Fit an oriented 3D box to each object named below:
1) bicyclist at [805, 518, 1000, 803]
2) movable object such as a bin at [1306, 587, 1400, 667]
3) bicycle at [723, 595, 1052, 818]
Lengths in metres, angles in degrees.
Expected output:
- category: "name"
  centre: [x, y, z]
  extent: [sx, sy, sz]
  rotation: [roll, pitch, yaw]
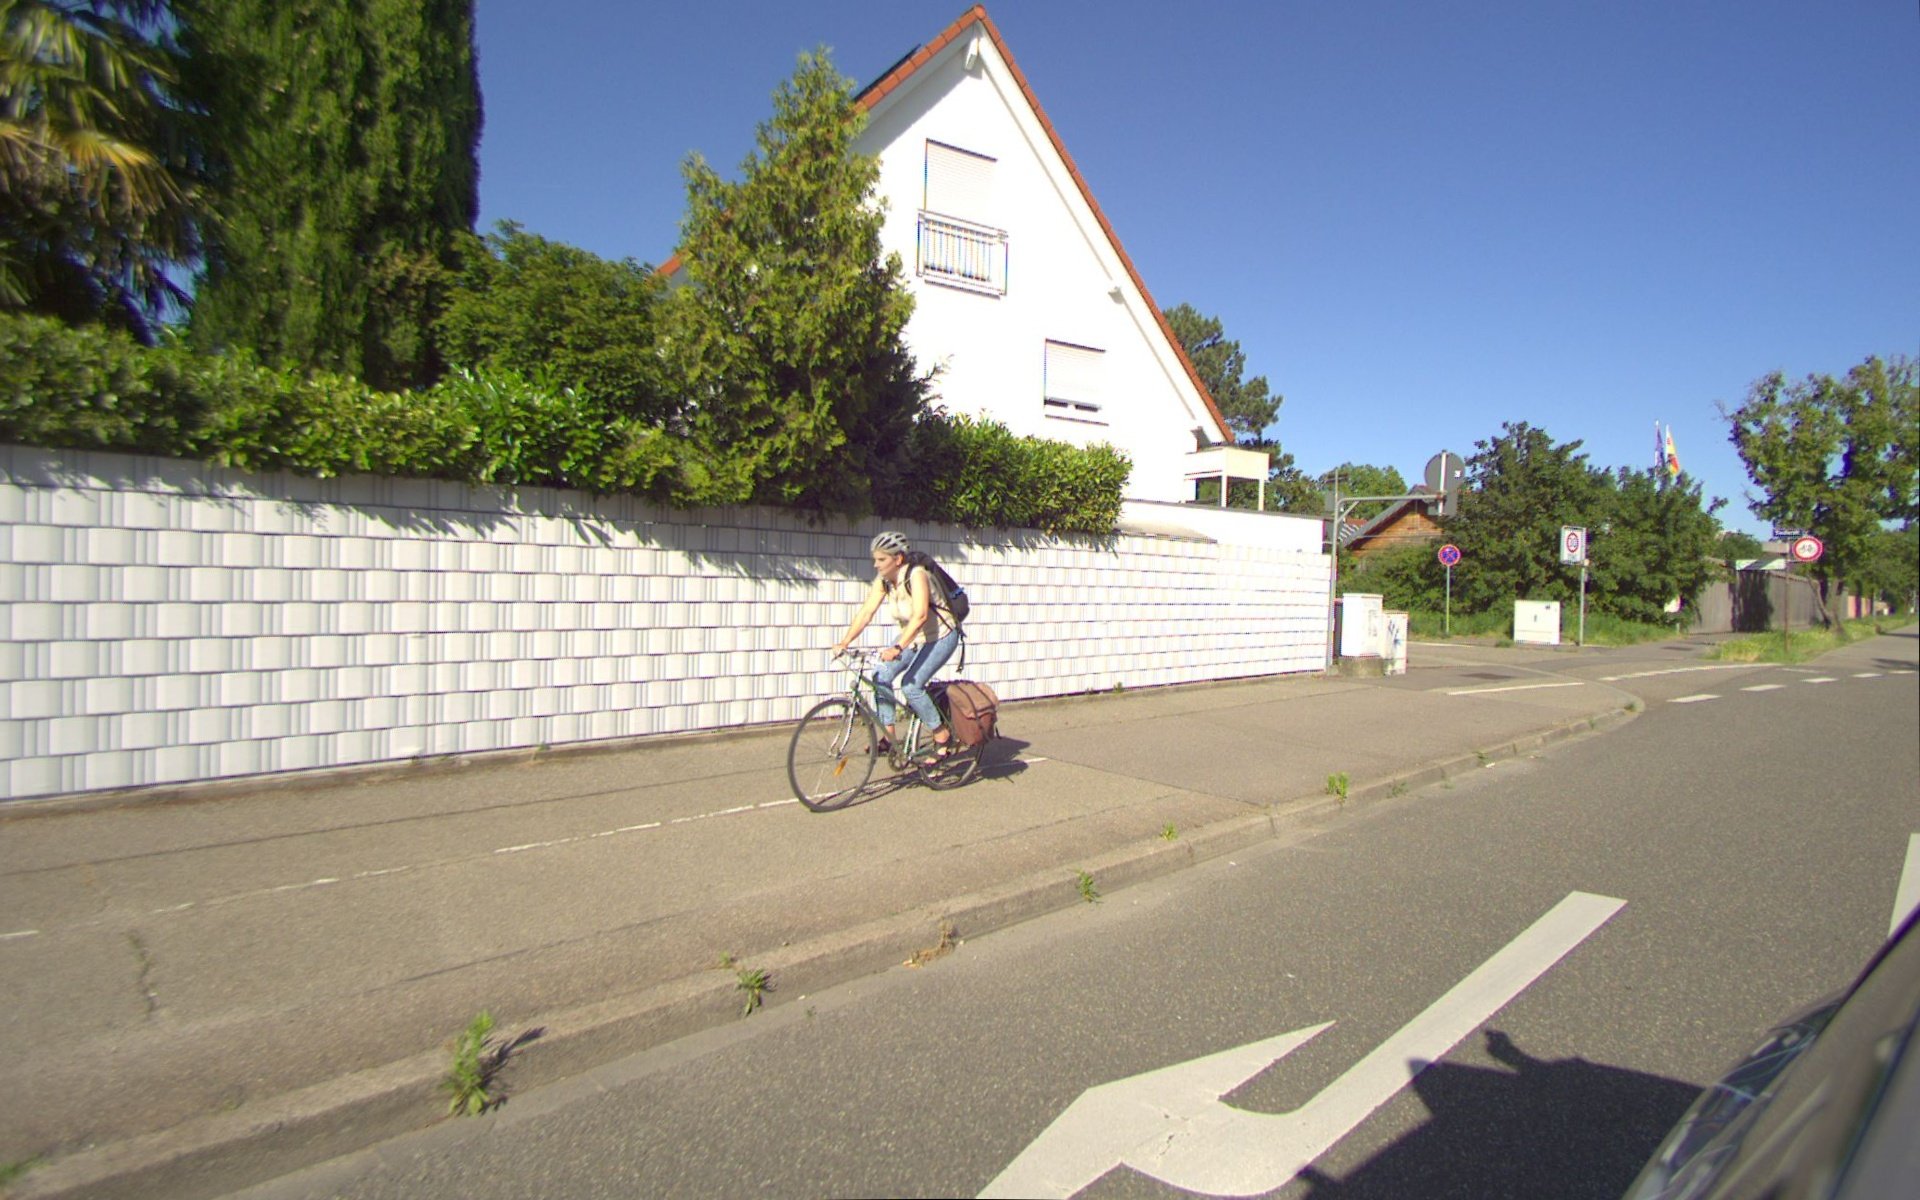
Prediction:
- category: "bicyclist"
  centre: [-0.363, 0.347, 6.461]
  extent: [0.965, 1.652, 0.631]
  rotation: [2, 4, -42]
- category: "movable object such as a bin"
  centre: [6.544, 0.431, 16.855]
  extent: [1.043, 1.219, 1.005]
  rotation: [0, 4, -37]
- category: "bicycle"
  centre: [-0.381, 0.594, 6.403]
  extent: [2.104, 1.169, 0.575]
  rotation: [1, 4, -42]
